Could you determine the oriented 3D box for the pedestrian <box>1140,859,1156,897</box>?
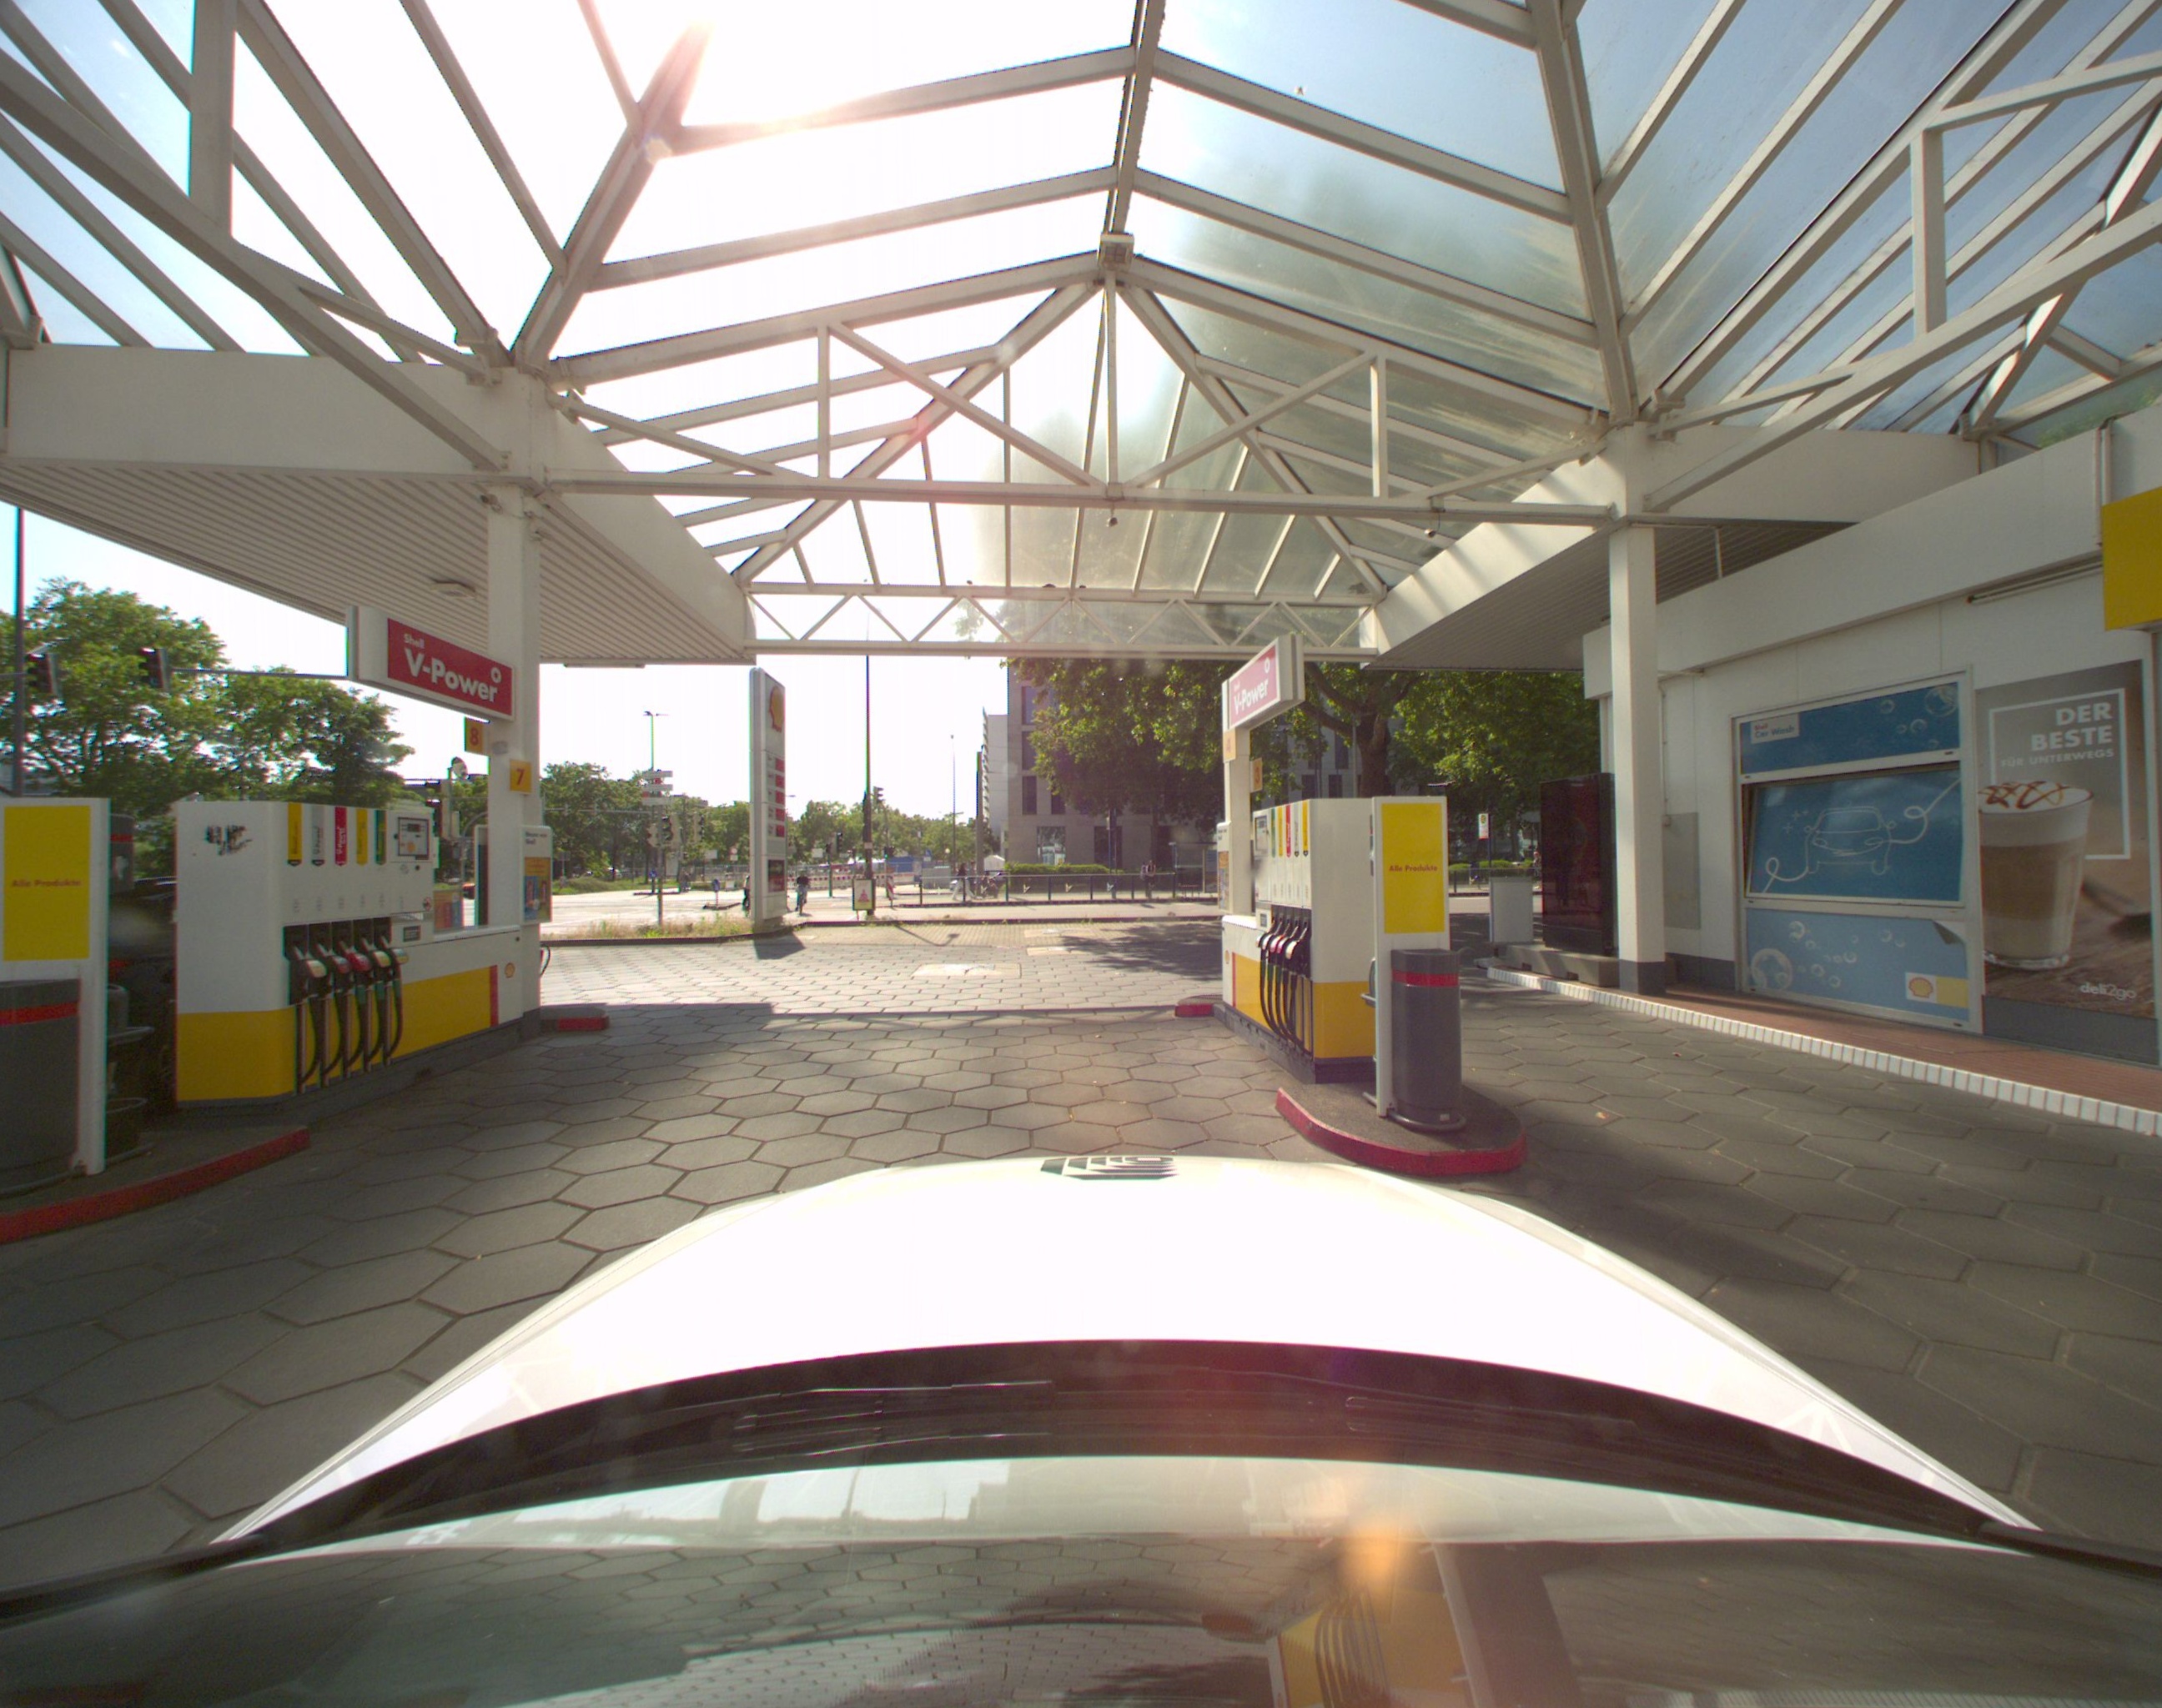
[{"bbox_3d":[2.900,1.018,35.227,0.583,1.591,0.669,-1,0,-6],"label":"pedestrian"}]

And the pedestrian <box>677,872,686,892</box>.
[{"bbox_3d":[-29.705,2.093,60.538,0.567,1.469,0.508,0,-1,-30],"label":"pedestrian"}]

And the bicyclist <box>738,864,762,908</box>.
[{"bbox_3d":[-12.085,1.164,29.757,0.639,1.580,1.167,0,-1,-14],"label":"bicyclist"}]

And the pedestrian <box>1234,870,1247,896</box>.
[{"bbox_3d":[7.022,1.275,35.847,0.497,1.138,0.524,-1,-1,1],"label":"pedestrian"}]

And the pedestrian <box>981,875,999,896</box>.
[{"bbox_3d":[-4.033,1.391,36.131,0.687,0.880,0.503,-1,-1,3],"label":"pedestrian"}]

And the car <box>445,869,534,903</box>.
[{"bbox_3d":[-38.981,2.058,53.807,1.980,2.014,4.463,-3,-1,13],"label":"car"}]

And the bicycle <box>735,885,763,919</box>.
[{"bbox_3d":[-12.089,1.718,29.709,0.639,1.082,2.016,0,1,-14],"label":"bicycle"}]

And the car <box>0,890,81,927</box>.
[{"bbox_3d":[-58.326,3.018,44.525,4.207,1.805,1.989,-2,-1,-16],"label":"car"}]

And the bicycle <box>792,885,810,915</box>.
[{"bbox_3d":[-10.762,1.735,31.304,0.525,1.082,1.852,0,-1,-24],"label":"bicycle"}]

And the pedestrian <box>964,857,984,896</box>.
[{"bbox_3d":[-4.761,1.001,36.182,0.773,1.683,0.503,-1,-1,4],"label":"pedestrian"}]

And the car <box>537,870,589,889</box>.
[{"bbox_3d":[-53.410,2.625,83.982,3.975,1.816,1.999,-3,-1,-1],"label":"car"}]

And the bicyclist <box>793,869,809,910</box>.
[{"bbox_3d":[-10.751,1.367,31.256,0.535,1.544,0.859,0,-2,-22],"label":"bicyclist"}]

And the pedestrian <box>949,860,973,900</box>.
[{"bbox_3d":[-5.185,1.118,35.177,0.928,1.683,0.503,-1,-1,4],"label":"pedestrian"}]

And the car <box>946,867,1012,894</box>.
[{"bbox_3d":[-6.381,1.632,50.577,3.988,1.552,1.697,0,-1,-11],"label":"car"}]

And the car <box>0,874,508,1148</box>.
[{"bbox_3d":[-6.782,0.959,6.561,1.741,1.532,3.992,-2,-1,-5],"label":"car"}]

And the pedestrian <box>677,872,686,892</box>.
[{"bbox_3d":[-29.210,2.048,59.608,0.567,1.469,0.509,0,-1,-30],"label":"pedestrian"}]

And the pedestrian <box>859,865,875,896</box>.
[{"bbox_3d":[-10.687,1.336,40.677,0.647,1.540,0.503,-1,-1,4],"label":"pedestrian"}]

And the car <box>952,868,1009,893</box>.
[{"bbox_3d":[-6.714,1.738,54.202,3.683,1.552,1.586,0,-1,-11],"label":"car"}]
